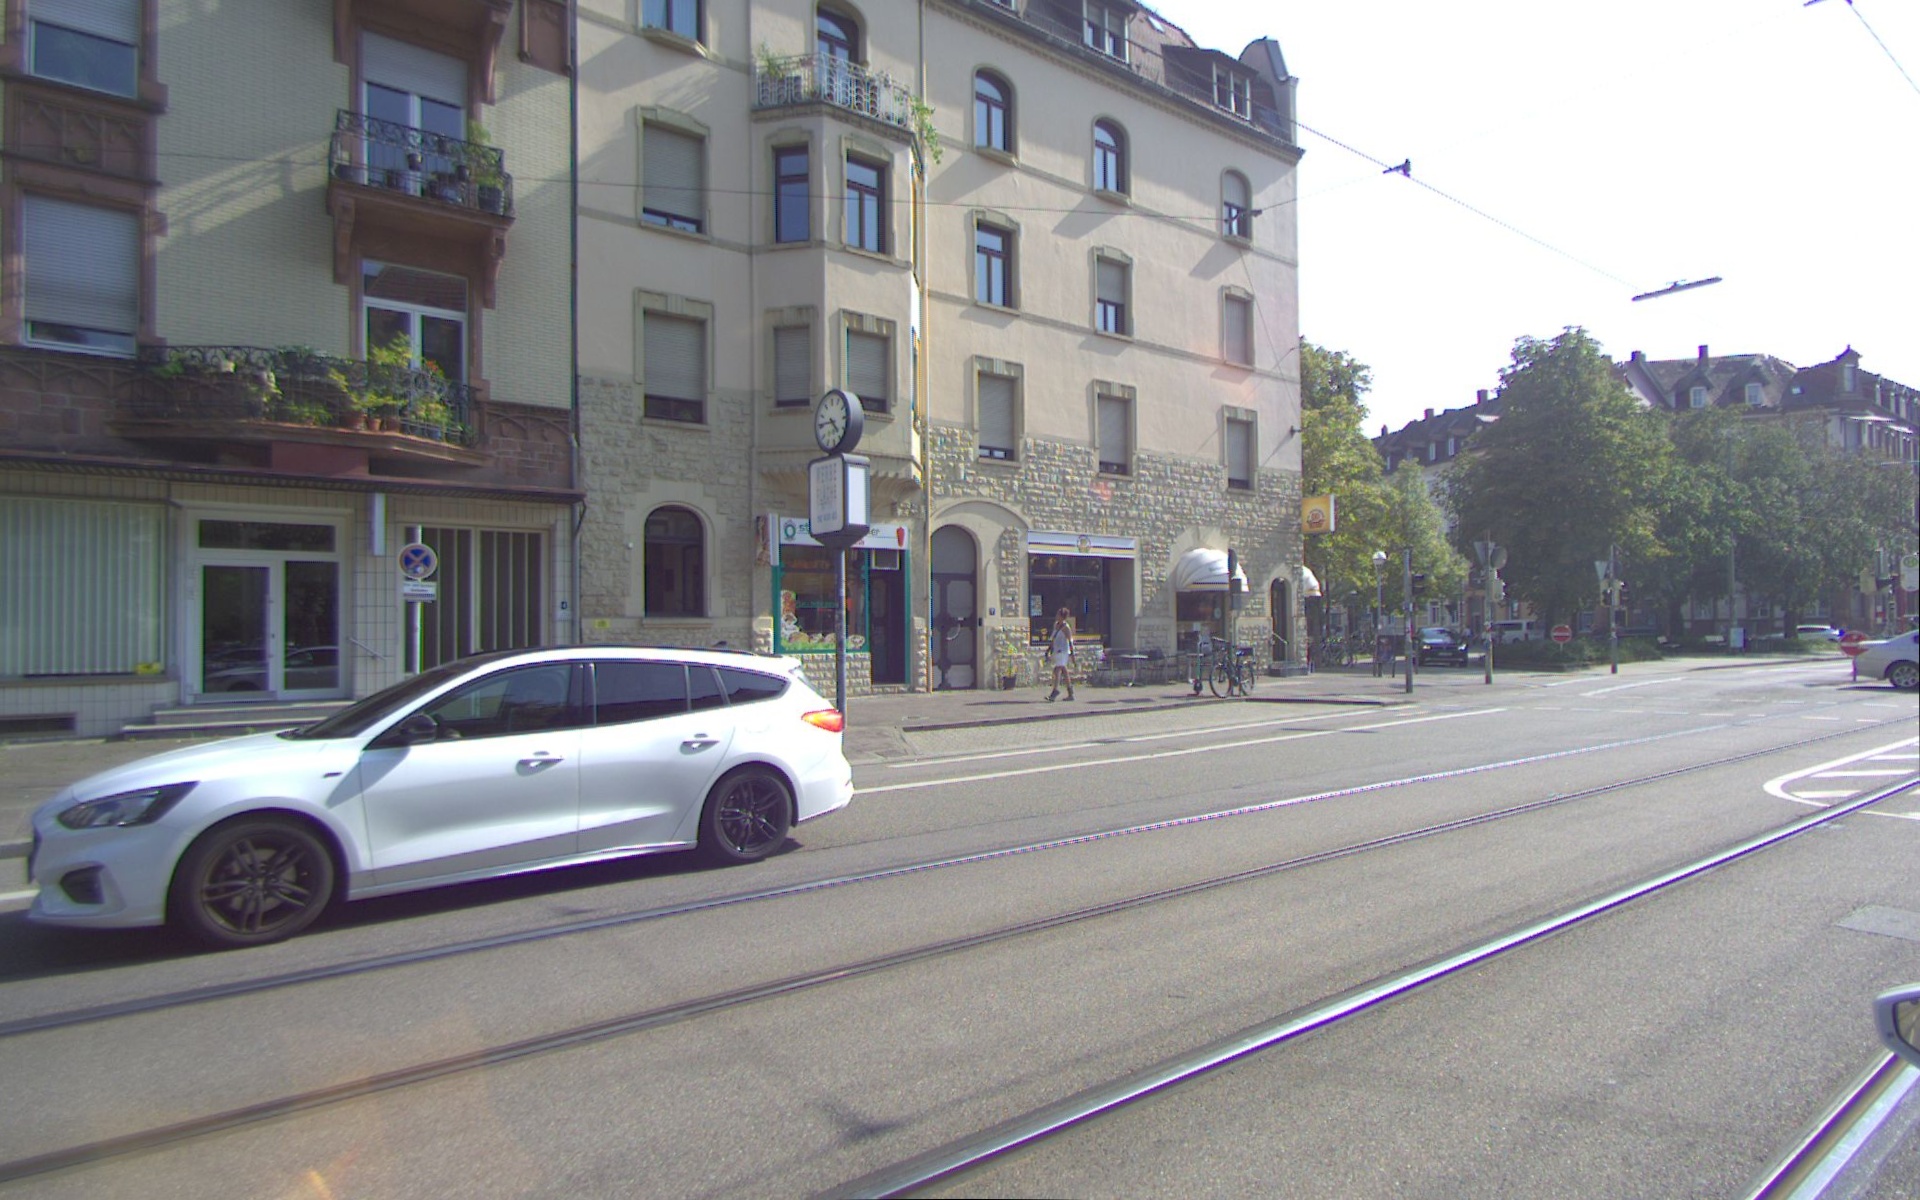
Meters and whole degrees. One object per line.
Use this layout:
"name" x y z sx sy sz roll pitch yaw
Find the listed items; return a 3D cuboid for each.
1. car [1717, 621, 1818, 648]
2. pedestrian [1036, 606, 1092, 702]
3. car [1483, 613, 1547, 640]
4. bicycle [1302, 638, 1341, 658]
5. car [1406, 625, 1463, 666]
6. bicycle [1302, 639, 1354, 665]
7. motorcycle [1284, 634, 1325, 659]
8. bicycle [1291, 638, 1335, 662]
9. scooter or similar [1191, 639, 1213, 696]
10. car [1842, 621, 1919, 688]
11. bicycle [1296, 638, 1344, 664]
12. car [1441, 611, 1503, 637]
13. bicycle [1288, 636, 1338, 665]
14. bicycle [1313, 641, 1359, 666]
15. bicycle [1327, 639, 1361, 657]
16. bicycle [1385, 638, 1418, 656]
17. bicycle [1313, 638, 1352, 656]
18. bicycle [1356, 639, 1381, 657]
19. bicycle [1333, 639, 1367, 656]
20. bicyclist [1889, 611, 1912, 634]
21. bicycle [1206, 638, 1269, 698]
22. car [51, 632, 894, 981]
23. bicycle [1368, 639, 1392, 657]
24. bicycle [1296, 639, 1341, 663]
"car" 48.628 2.099 60.597 4.249 1.590 2.001 -1 -2 17
"pedestrian" 2.101 1.075 20.266 0.823 1.884 0.768 1 -2 -38
"car" 40.744 1.960 73.860 1.966 1.852 3.990 0 -2 -13
"bicycle" 18.396 2.417 51.146 1.864 0.993 0.686 0 -2 21
"car" 19.512 1.830 41.462 1.580 1.535 4.229 -2 -1 18
"bicycle" 14.685 2.057 40.118 1.841 1.017 0.570 0 -2 1
"motorcycle" 16.391 2.204 47.805 1.838 1.169 0.607 0 -2 21
"bicycle" 15.505 2.195 44.177 1.768 0.996 0.661 0 -2 14
"scooter or similar" 5.282 1.457 21.956 0.359 1.213 1.035 -1 -2 9
"car" 22.745 1.194 22.040 1.848 1.485 4.749 1 -2 -30
"bicycle" 14.904 2.094 41.598 1.840 1.047 0.570 0 -2 16
"car" 37.758 1.773 74.149 1.966 1.852 3.990 0 -2 -13
"bicycle" 13.784 1.968 39.258 1.847 1.127 0.568 1 -2 -15
"bicycle" 14.463 2.057 38.653 1.578 0.932 0.479 0 -2 -5
"bicycle" 22.071 2.742 57.669 1.740 0.990 0.518 -2 -2 33
"bicycle" 26.225 2.788 59.693 0.597 0.990 1.758 0 -2 -27
"bicycle" 19.916 2.492 53.665 1.848 0.947 0.636 -1 -2 37
"bicycle" 23.262 2.735 57.180 1.753 0.990 0.421 1 -2 -36
"bicycle" 22.617 2.748 58.232 1.740 0.990 0.604 -2 -2 32
"bicyclist" 55.899 1.329 59.703 0.542 1.345 0.815 0 -2 -31
"bicycle" 6.036 1.452 21.798 0.448 1.242 1.845 -2 -2 44
"car" -2.817 1.015 6.568 4.506 1.473 1.858 1 -5 -39
"bicycle" 23.939 2.739 57.219 1.753 0.990 0.421 1 -2 -36
"bicycle" 15.321 2.184 42.977 1.768 0.997 0.570 0 -2 14
